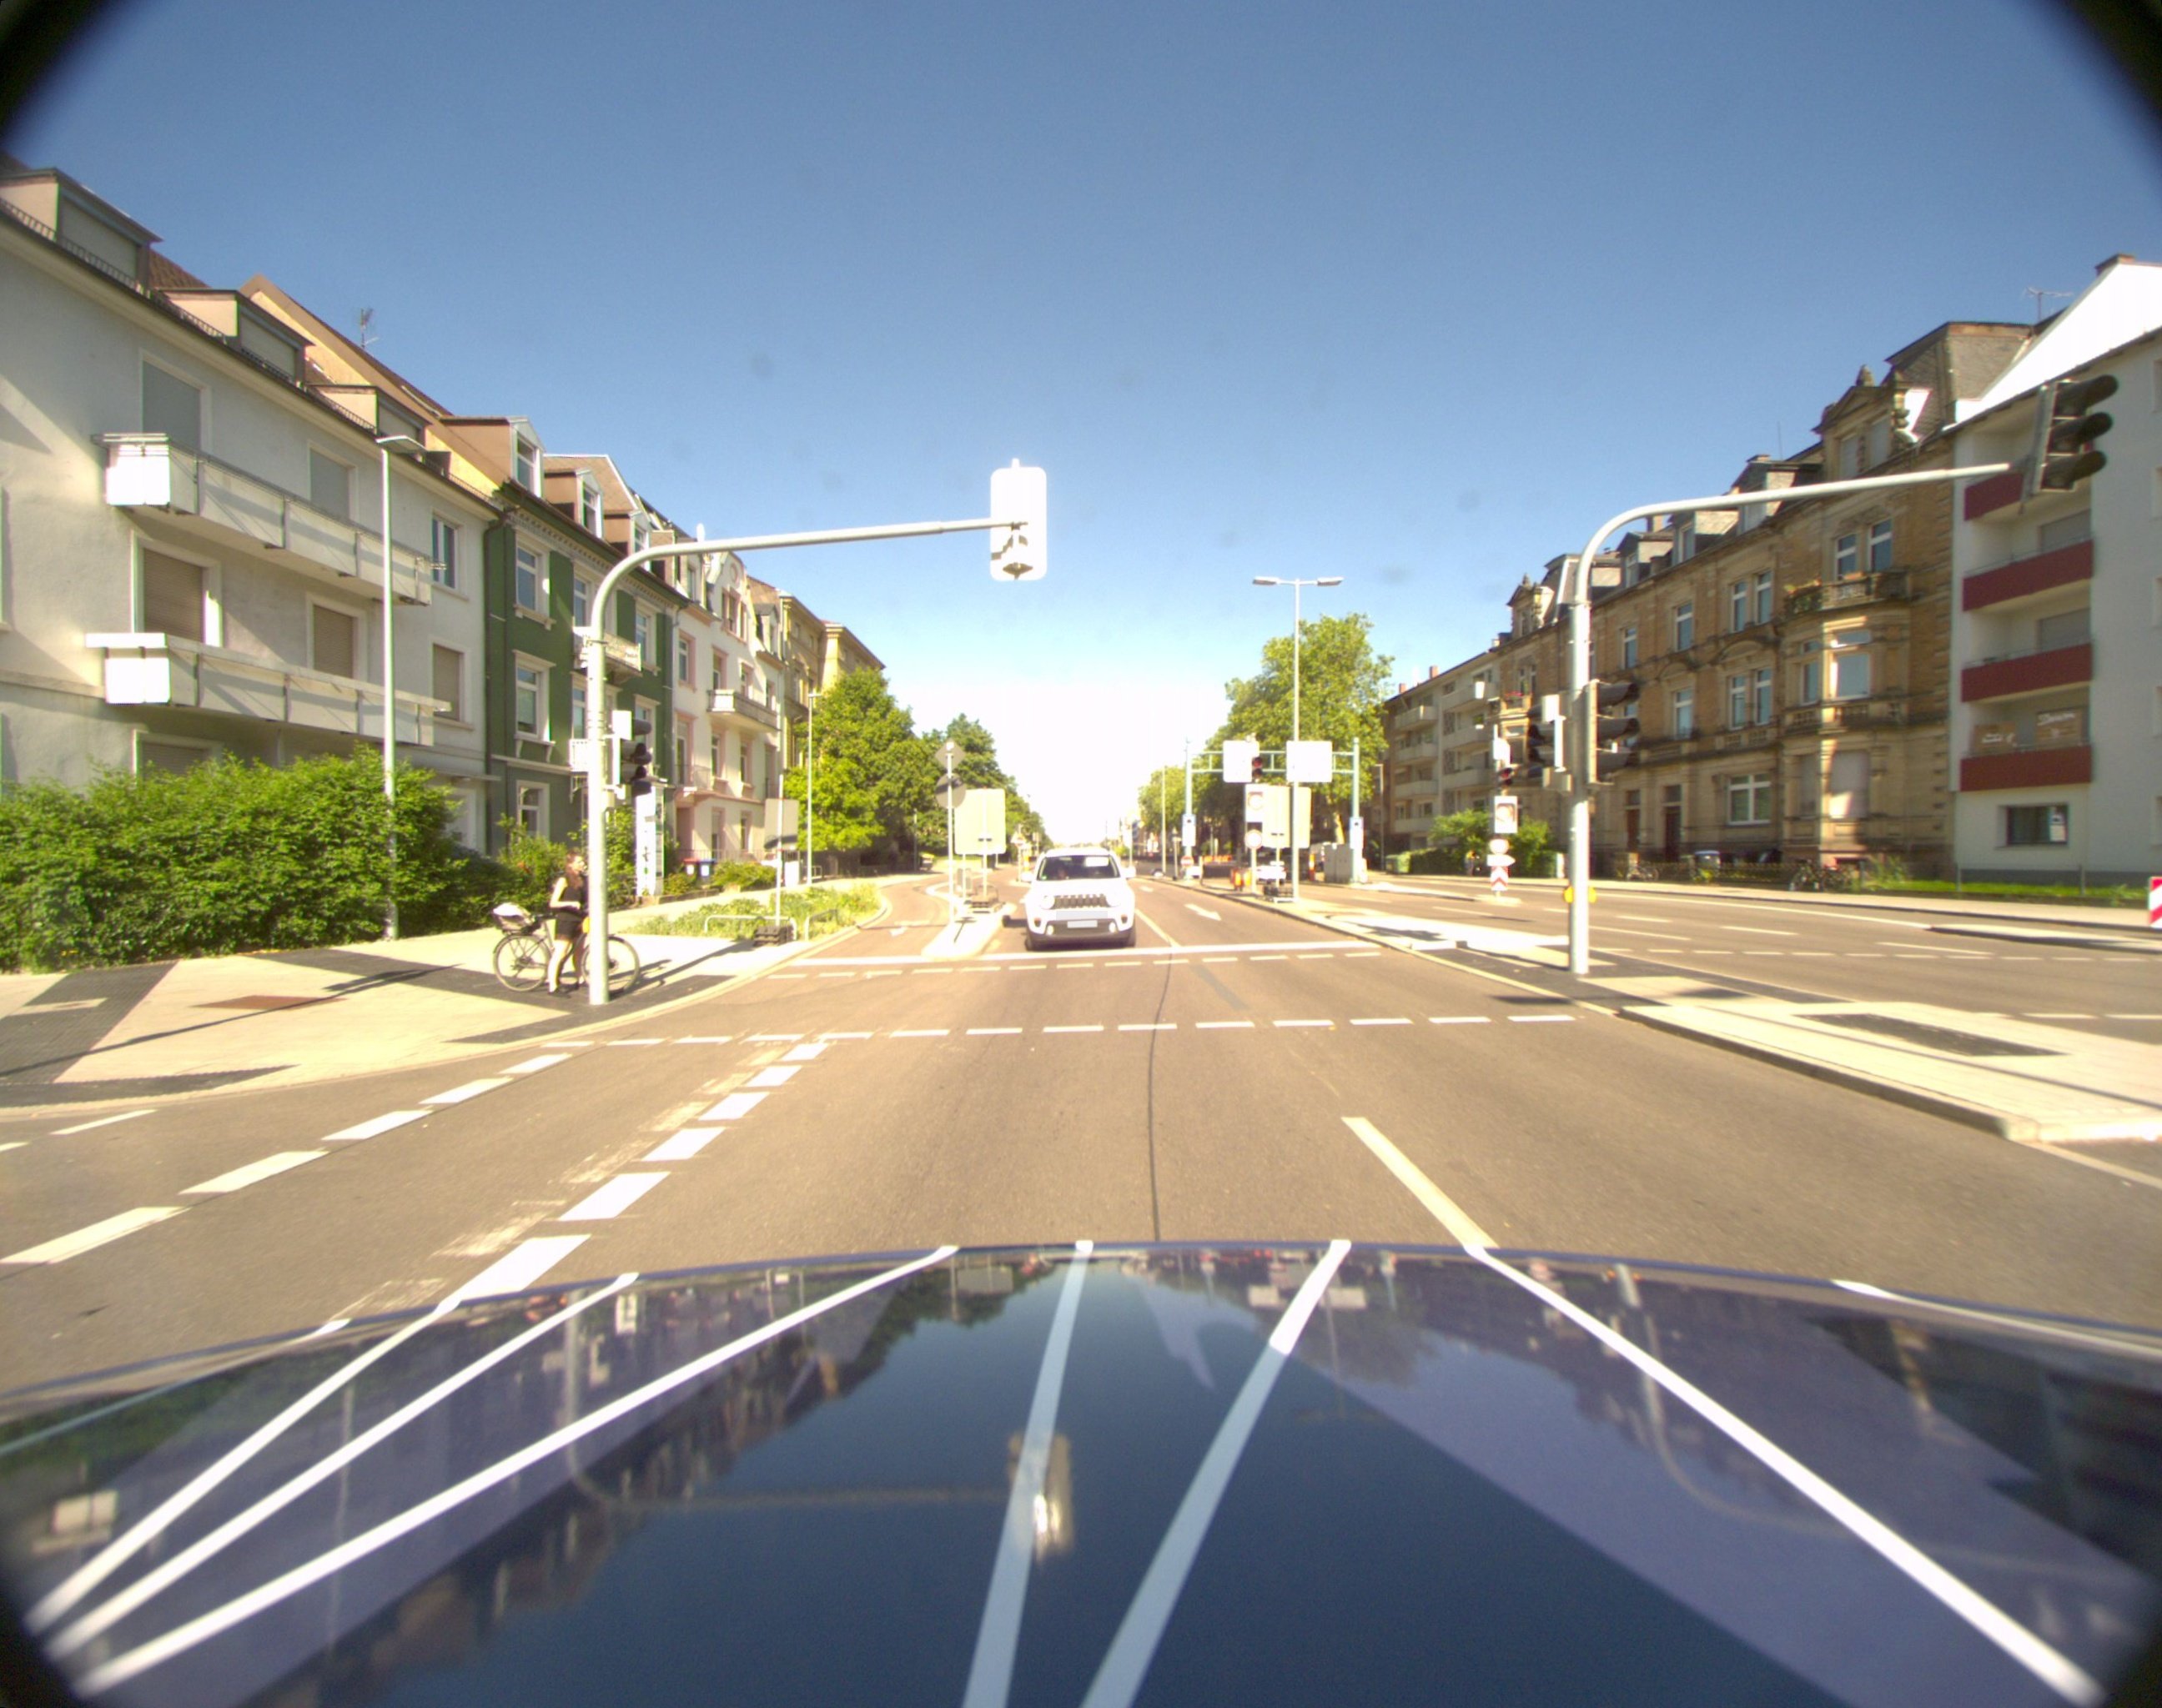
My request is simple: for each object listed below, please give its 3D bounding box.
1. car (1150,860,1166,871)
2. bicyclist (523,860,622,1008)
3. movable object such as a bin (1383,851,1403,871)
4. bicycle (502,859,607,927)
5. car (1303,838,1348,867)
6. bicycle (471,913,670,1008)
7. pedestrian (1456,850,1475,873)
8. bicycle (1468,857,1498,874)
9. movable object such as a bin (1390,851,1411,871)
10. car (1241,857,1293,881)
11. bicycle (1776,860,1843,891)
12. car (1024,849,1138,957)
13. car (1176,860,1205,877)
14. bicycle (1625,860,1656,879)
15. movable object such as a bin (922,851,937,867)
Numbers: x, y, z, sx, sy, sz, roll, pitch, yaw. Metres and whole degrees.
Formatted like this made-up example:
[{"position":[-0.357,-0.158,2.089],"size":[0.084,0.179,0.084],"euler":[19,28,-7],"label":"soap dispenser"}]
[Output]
[{"position":[10.351,1.510,102.273],"size":[1.611,1.432,4.310],"euler":[2,0,-1],"label":"car"},{"position":[-6.142,0.931,9.222],"size":[0.605,1.698,0.858],"euler":[0,0,0],"label":"bicyclist"},{"position":[22.792,0.519,55.476],"size":[0.895,1.354,1.314],"euler":[1,-1,-1],"label":"movable object such as a bin"},{"position":[-12.141,0.850,17.637],"size":[0.710,1.435,2.491],"euler":[-2,0,-1],"label":"bicycle"},{"position":[21.608,-0.092,67.325],"size":[2.250,2.431,5.288],"euler":[1,-1,1],"label":"car"},{"position":[-6.193,1.281,9.280],"size":[1.967,1.019,0.605],"euler":[-2,0,-1],"label":"bicycle"},{"position":[22.855,0.454,45.198],"size":[0.568,1.369,1.090],"euler":[-1,0,-2],"label":"pedestrian"},{"position":[23.419,0.664,44.346],"size":[0.468,0.999,2.250],"euler":[-2,0,-2],"label":"bicycle"},{"position":[22.736,0.505,54.082],"size":[0.895,1.352,1.474],"euler":[1,-1,1],"label":"movable object such as a bin"},{"position":[10.884,0.873,44.803],"size":[1.936,1.337,4.316],"euler":[0,-1,-2],"label":"car"},{"position":[23.696,0.674,24.758],"size":[0.305,0.952,1.940],"euler":[0,0,0],"label":"bicycle"},{"position":[-0.033,0.784,13.605],"size":[1.744,1.647,3.690],"euler":[-1,-1,-1],"label":"car"},{"position":[10.486,1.445,73.065],"size":[1.999,1.444,4.391],"euler":[-3,-2,-1],"label":"car"},{"position":[23.677,0.661,32.161],"size":[0.299,0.766,1.414],"euler":[0,0,0],"label":"bicycle"},{"position":[-12.938,0.424,64.912],"size":[0.975,1.389,1.285],"euler":[2,-1,-23],"label":"movable object such as a bin"}]
